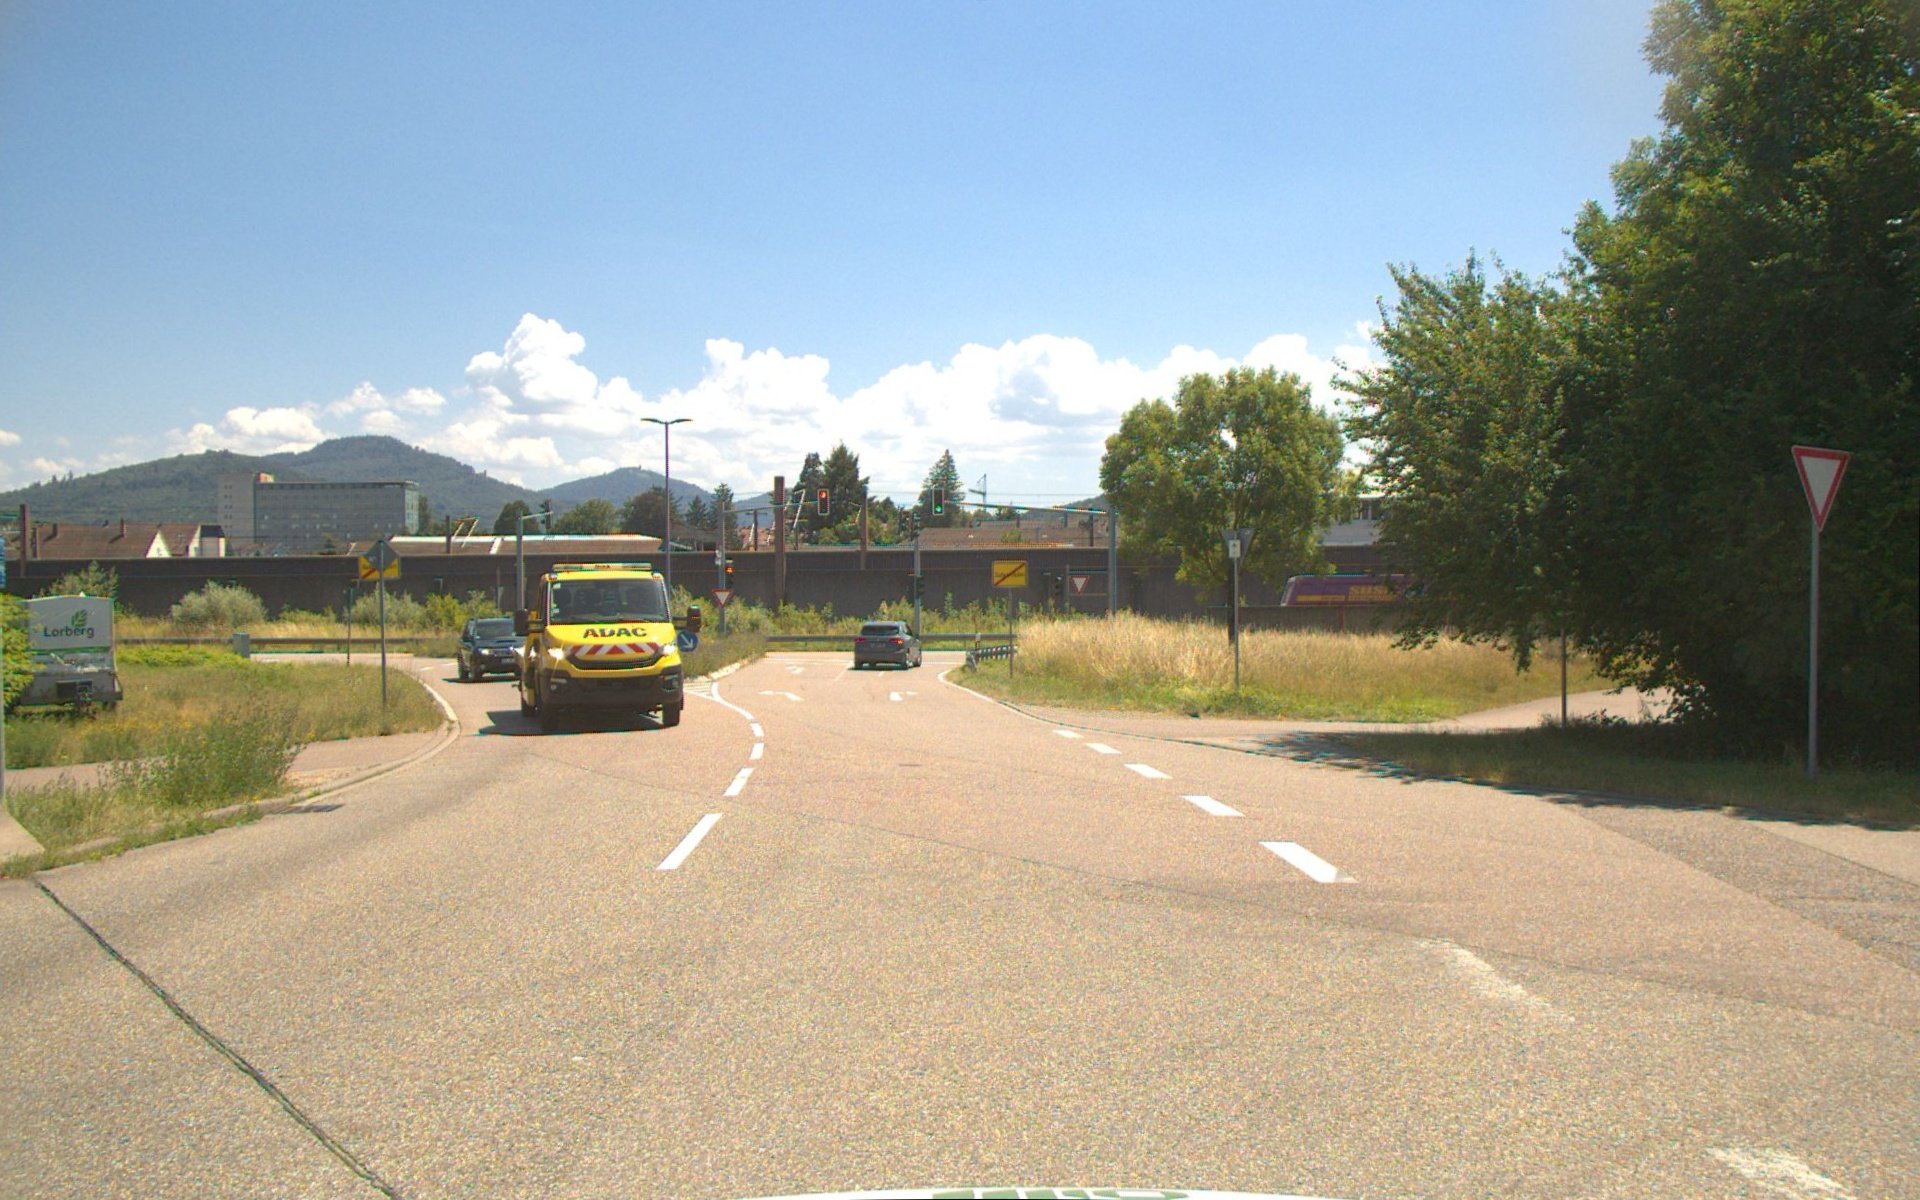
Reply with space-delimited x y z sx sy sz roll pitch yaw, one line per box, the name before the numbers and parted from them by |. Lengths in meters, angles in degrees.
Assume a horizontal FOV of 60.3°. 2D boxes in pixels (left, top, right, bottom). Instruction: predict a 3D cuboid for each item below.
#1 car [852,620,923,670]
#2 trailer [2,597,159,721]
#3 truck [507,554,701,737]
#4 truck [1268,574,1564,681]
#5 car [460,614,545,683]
car | -2.384 1.470 55.305 1.952 1.529 4.002 1 0 3
trailer | -15.711 1.003 29.456 1.837 2.049 3.906 1 -1 -38
truck | -5.997 0.720 26.764 2.274 2.378 9.006 -2 -1 -17
truck | 18.805 1.127 68.781 11.523 4.254 3.006 0 -1 2
car | -12.631 1.299 45.522 1.874 1.732 3.976 1 0 -21
